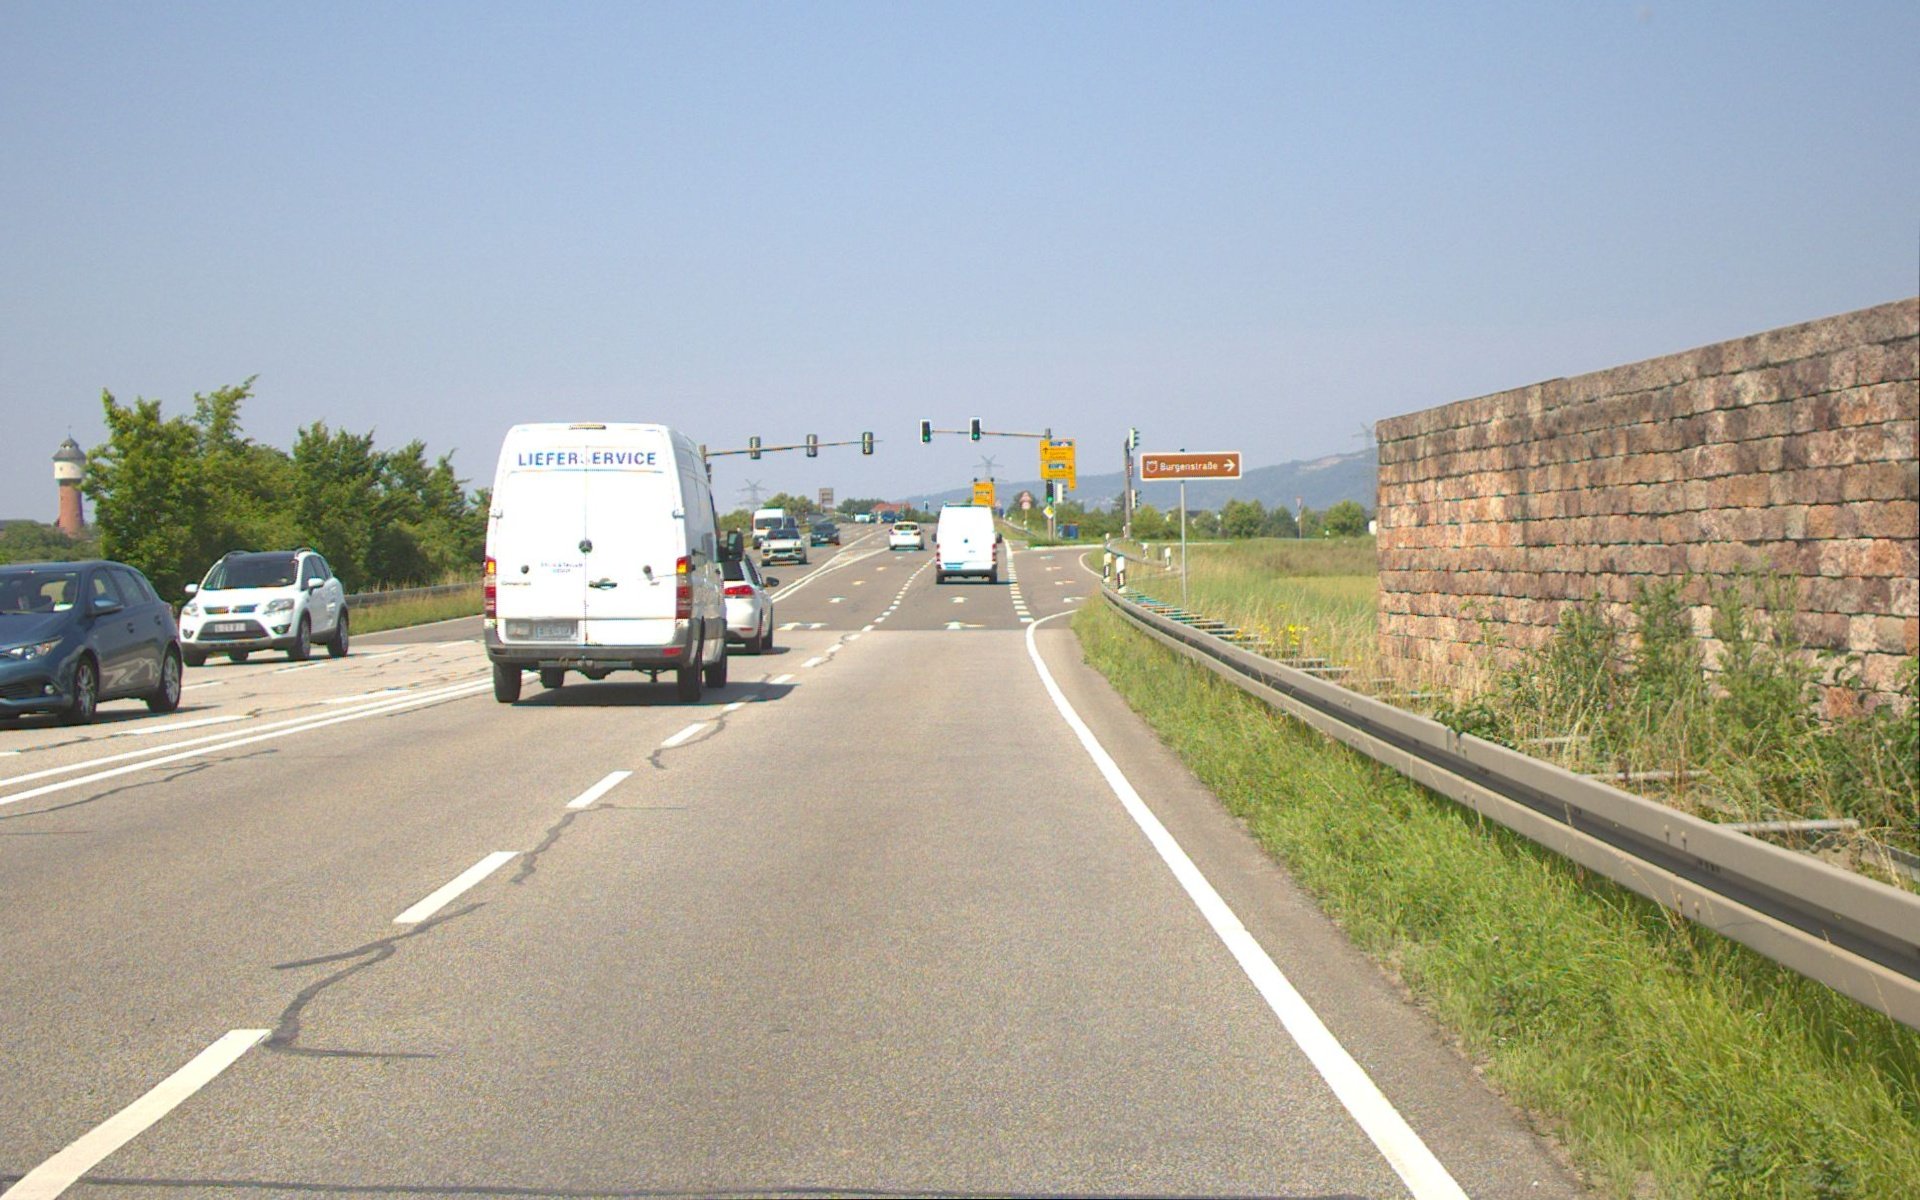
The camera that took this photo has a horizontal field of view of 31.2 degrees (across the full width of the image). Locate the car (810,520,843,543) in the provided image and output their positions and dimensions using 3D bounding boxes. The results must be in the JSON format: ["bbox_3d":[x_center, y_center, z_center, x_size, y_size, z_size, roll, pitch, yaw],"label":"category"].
[{"bbox_3d":[-8.579,-4.437,221.867,1.857,1.418,4.000,0,0,2],"label":"car"}]

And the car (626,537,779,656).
[{"bbox_3d":[-3.613,-0.085,48.907,1.799,1.503,4.196,-2,2,0],"label":"car"}]

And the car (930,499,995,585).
[{"bbox_3d":[0.085,-1.894,112.159,1.993,2.686,4.970,-2,1,0],"label":"car"}]

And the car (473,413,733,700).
[{"bbox_3d":[-3.458,-0.420,34.350,2.039,2.611,5.741,0,0,-1],"label":"car"}]

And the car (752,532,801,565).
[{"bbox_3d":[-8.385,-2.371,157.156,1.857,1.418,4.000,-2,1,2],"label":"car"}]

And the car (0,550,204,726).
[{"bbox_3d":[-8.323,0.320,30.895,1.759,1.452,4.230,-3,0,5],"label":"car"}]

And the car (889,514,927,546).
[{"bbox_3d":[-2.870,-3.843,189.814,1.993,1.697,4.275,0,0,1],"label":"car"}]

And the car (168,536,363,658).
[{"bbox_3d":[-10.514,-0.082,52.345,1.665,1.671,4.462,-3,1,5],"label":"car"}]
